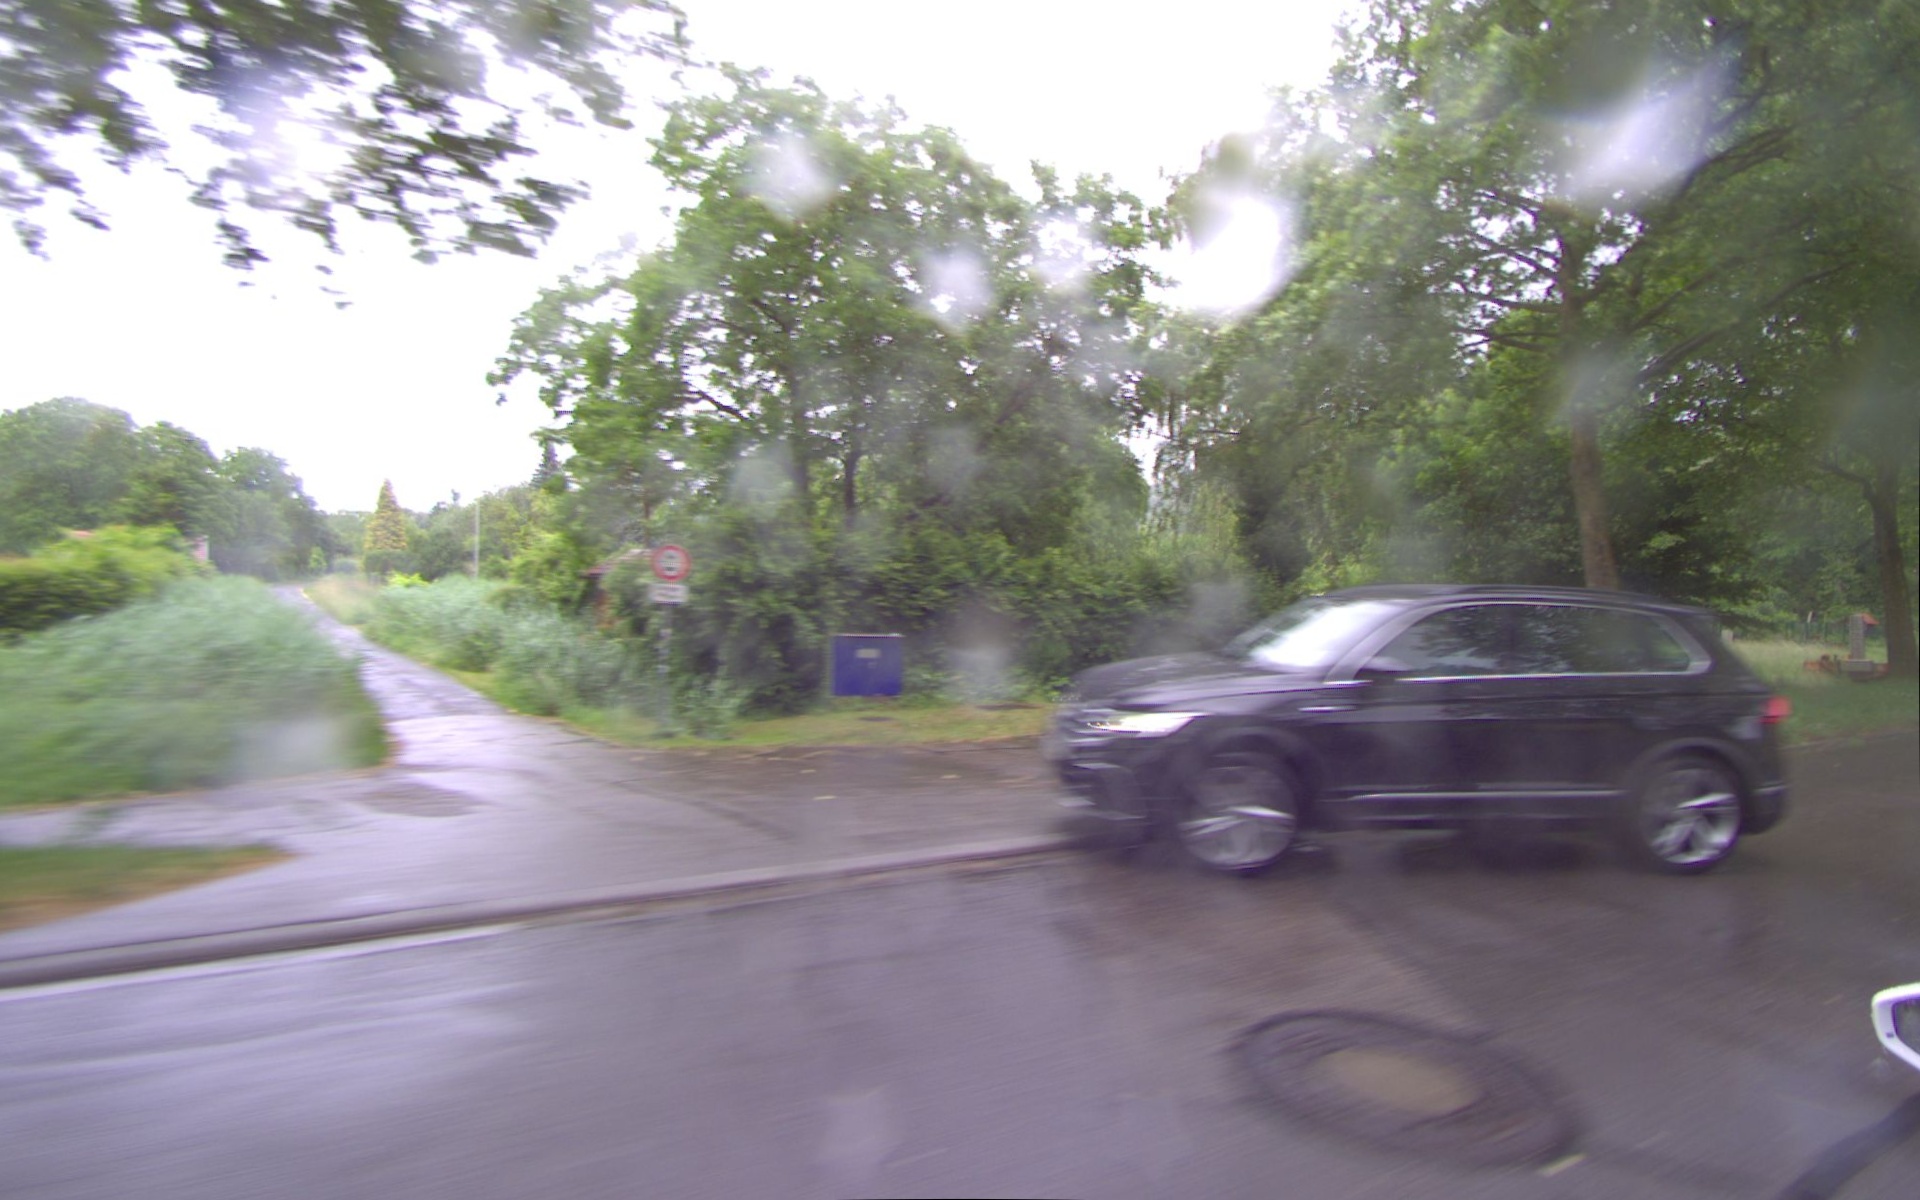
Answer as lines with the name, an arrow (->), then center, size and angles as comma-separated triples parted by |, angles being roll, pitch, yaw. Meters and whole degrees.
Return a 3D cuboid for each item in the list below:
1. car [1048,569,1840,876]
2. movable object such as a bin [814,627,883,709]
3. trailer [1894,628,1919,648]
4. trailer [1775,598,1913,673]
car -> 2.825, 0.683, 6.370 | 4.230, 1.609, 1.735 | 1, 1, -7
movable object such as a bin -> -2.096, 1.247, 18.893 | 0.955, 1.441, 0.957 | 1, 2, -32
trailer -> 60.532, 2.403, 62.331 | 1.807, 1.194, 3.525 | 0, 0, -39
trailer -> 33.524, 1.296, 38.048 | 5.273, 2.602, 2.471 | 1, 1, -32
